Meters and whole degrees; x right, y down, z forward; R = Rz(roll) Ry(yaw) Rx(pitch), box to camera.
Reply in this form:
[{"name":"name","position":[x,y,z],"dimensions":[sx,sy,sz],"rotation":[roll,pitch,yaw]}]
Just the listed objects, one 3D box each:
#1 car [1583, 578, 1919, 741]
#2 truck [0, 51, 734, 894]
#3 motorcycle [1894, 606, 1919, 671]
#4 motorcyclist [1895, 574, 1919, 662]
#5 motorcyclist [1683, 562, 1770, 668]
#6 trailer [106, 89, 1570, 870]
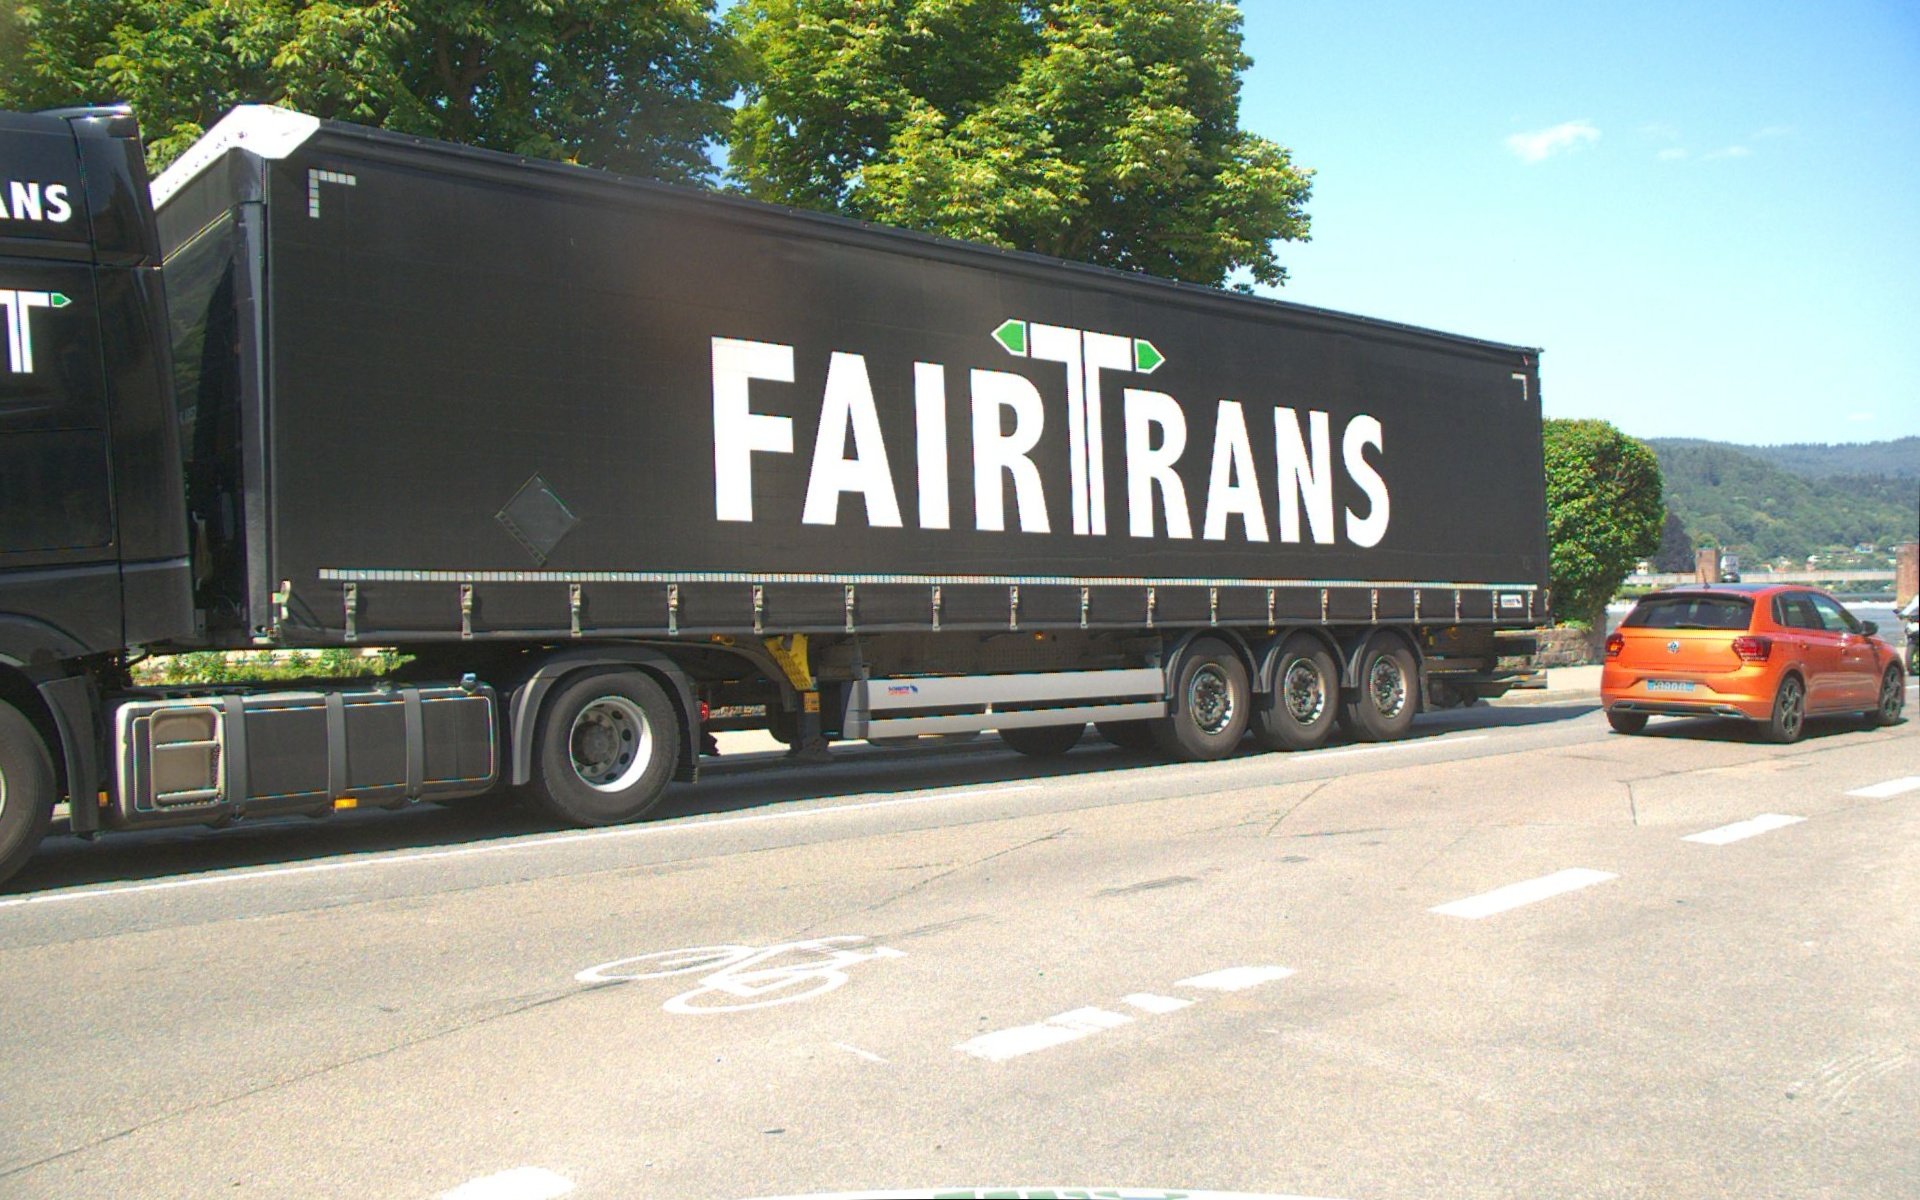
[{"name":"car","position":[8.025,0.517,16.526],"dimensions":[3.982,1.430,1.705],"rotation":[-1,0,-41]},{"name":"truck","position":[-4.652,-0.603,9.983],"dimensions":[5.878,4.143,2.798],"rotation":[-1,-2,-41]},{"name":"motorcycle","position":[17.649,0.668,29.942],"dimensions":[2.075,1.143,0.625],"rotation":[-1,-2,-42]},{"name":"motorcyclist","position":[17.360,0.317,29.708],"dimensions":[0.983,1.551,0.655],"rotation":[-1,-2,-41]},{"name":"motorcyclist","position":[11.152,0.218,24.056],"dimensions":[0.983,1.486,0.769],"rotation":[-1,-2,-41]},{"name":"trailer","position":[0.416,-0.693,14.372],"dimensions":[13.647,4.176,2.800],"rotation":[-1,-2,-41]}]
